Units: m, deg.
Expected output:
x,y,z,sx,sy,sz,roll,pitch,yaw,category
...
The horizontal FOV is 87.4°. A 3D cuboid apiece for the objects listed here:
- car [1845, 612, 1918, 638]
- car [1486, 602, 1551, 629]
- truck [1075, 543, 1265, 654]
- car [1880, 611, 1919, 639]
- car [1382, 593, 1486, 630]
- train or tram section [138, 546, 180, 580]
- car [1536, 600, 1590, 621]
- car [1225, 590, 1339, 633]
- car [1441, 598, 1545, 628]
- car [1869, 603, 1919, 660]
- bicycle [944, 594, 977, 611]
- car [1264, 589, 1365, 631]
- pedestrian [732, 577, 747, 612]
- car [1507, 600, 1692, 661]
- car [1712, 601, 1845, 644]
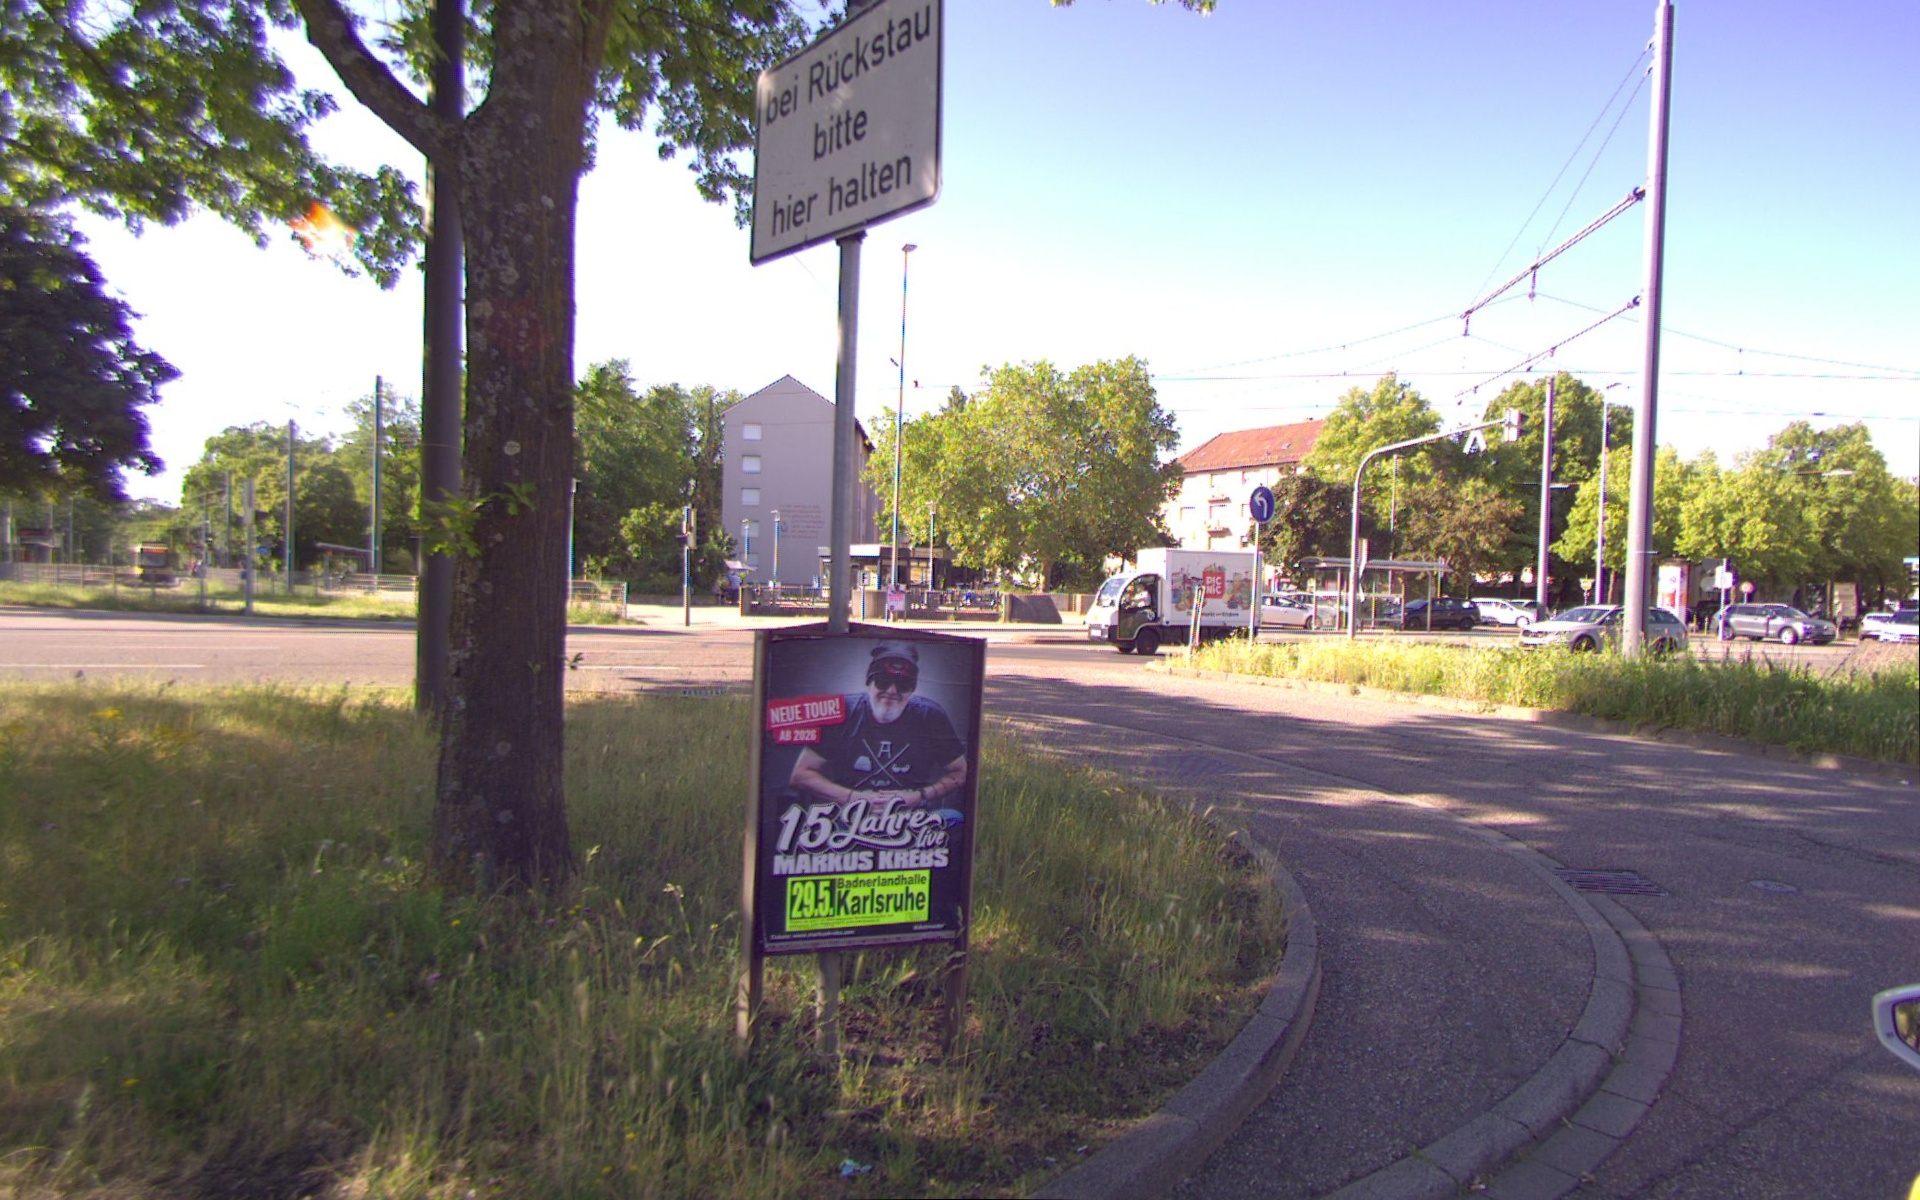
x,y,z,sx,sy,sz,roll,pitch,yaw,category
50.285,1.368,54.792,3.957,1.328,1.982,1,1,-33,car
35.662,1.004,64.134,4.177,1.639,1.751,1,2,-30,car
5.001,-0.029,24.051,4.046,2.459,1.786,2,1,-19,truck
56.579,1.465,59.565,3.895,1.533,1.926,1,1,-32,car
21.461,0.523,45.559,3.937,1.509,1.759,1,4,-11,car
-77.331,-3.606,97.169,2.447,2.979,19.632,1,1,-37,train or tram section
40.270,0.718,67.060,3.662,1.311,1.585,1,1,-33,car
13.947,0.469,43.778,4.457,1.565,1.873,2,4,11,car
29.359,0.743,55.437,1.723,1.461,4.820,4,-5,-43,car
28.618,0.934,30.096,1.972,1.583,4.362,3,1,43,car
0.033,0.106,54.119,1.651,0.850,0.548,2,1,15,bicycle
16.241,0.456,46.111,3.924,1.741,1.761,1,4,-6,car
-11.884,-0.287,54.094,0.715,1.854,0.558,2,1,-12,pedestrian
17.242,0.825,27.140,4.327,1.468,1.664,2,1,-14,car
34.932,0.919,42.990,1.966,1.593,3.988,2,1,-14,car
